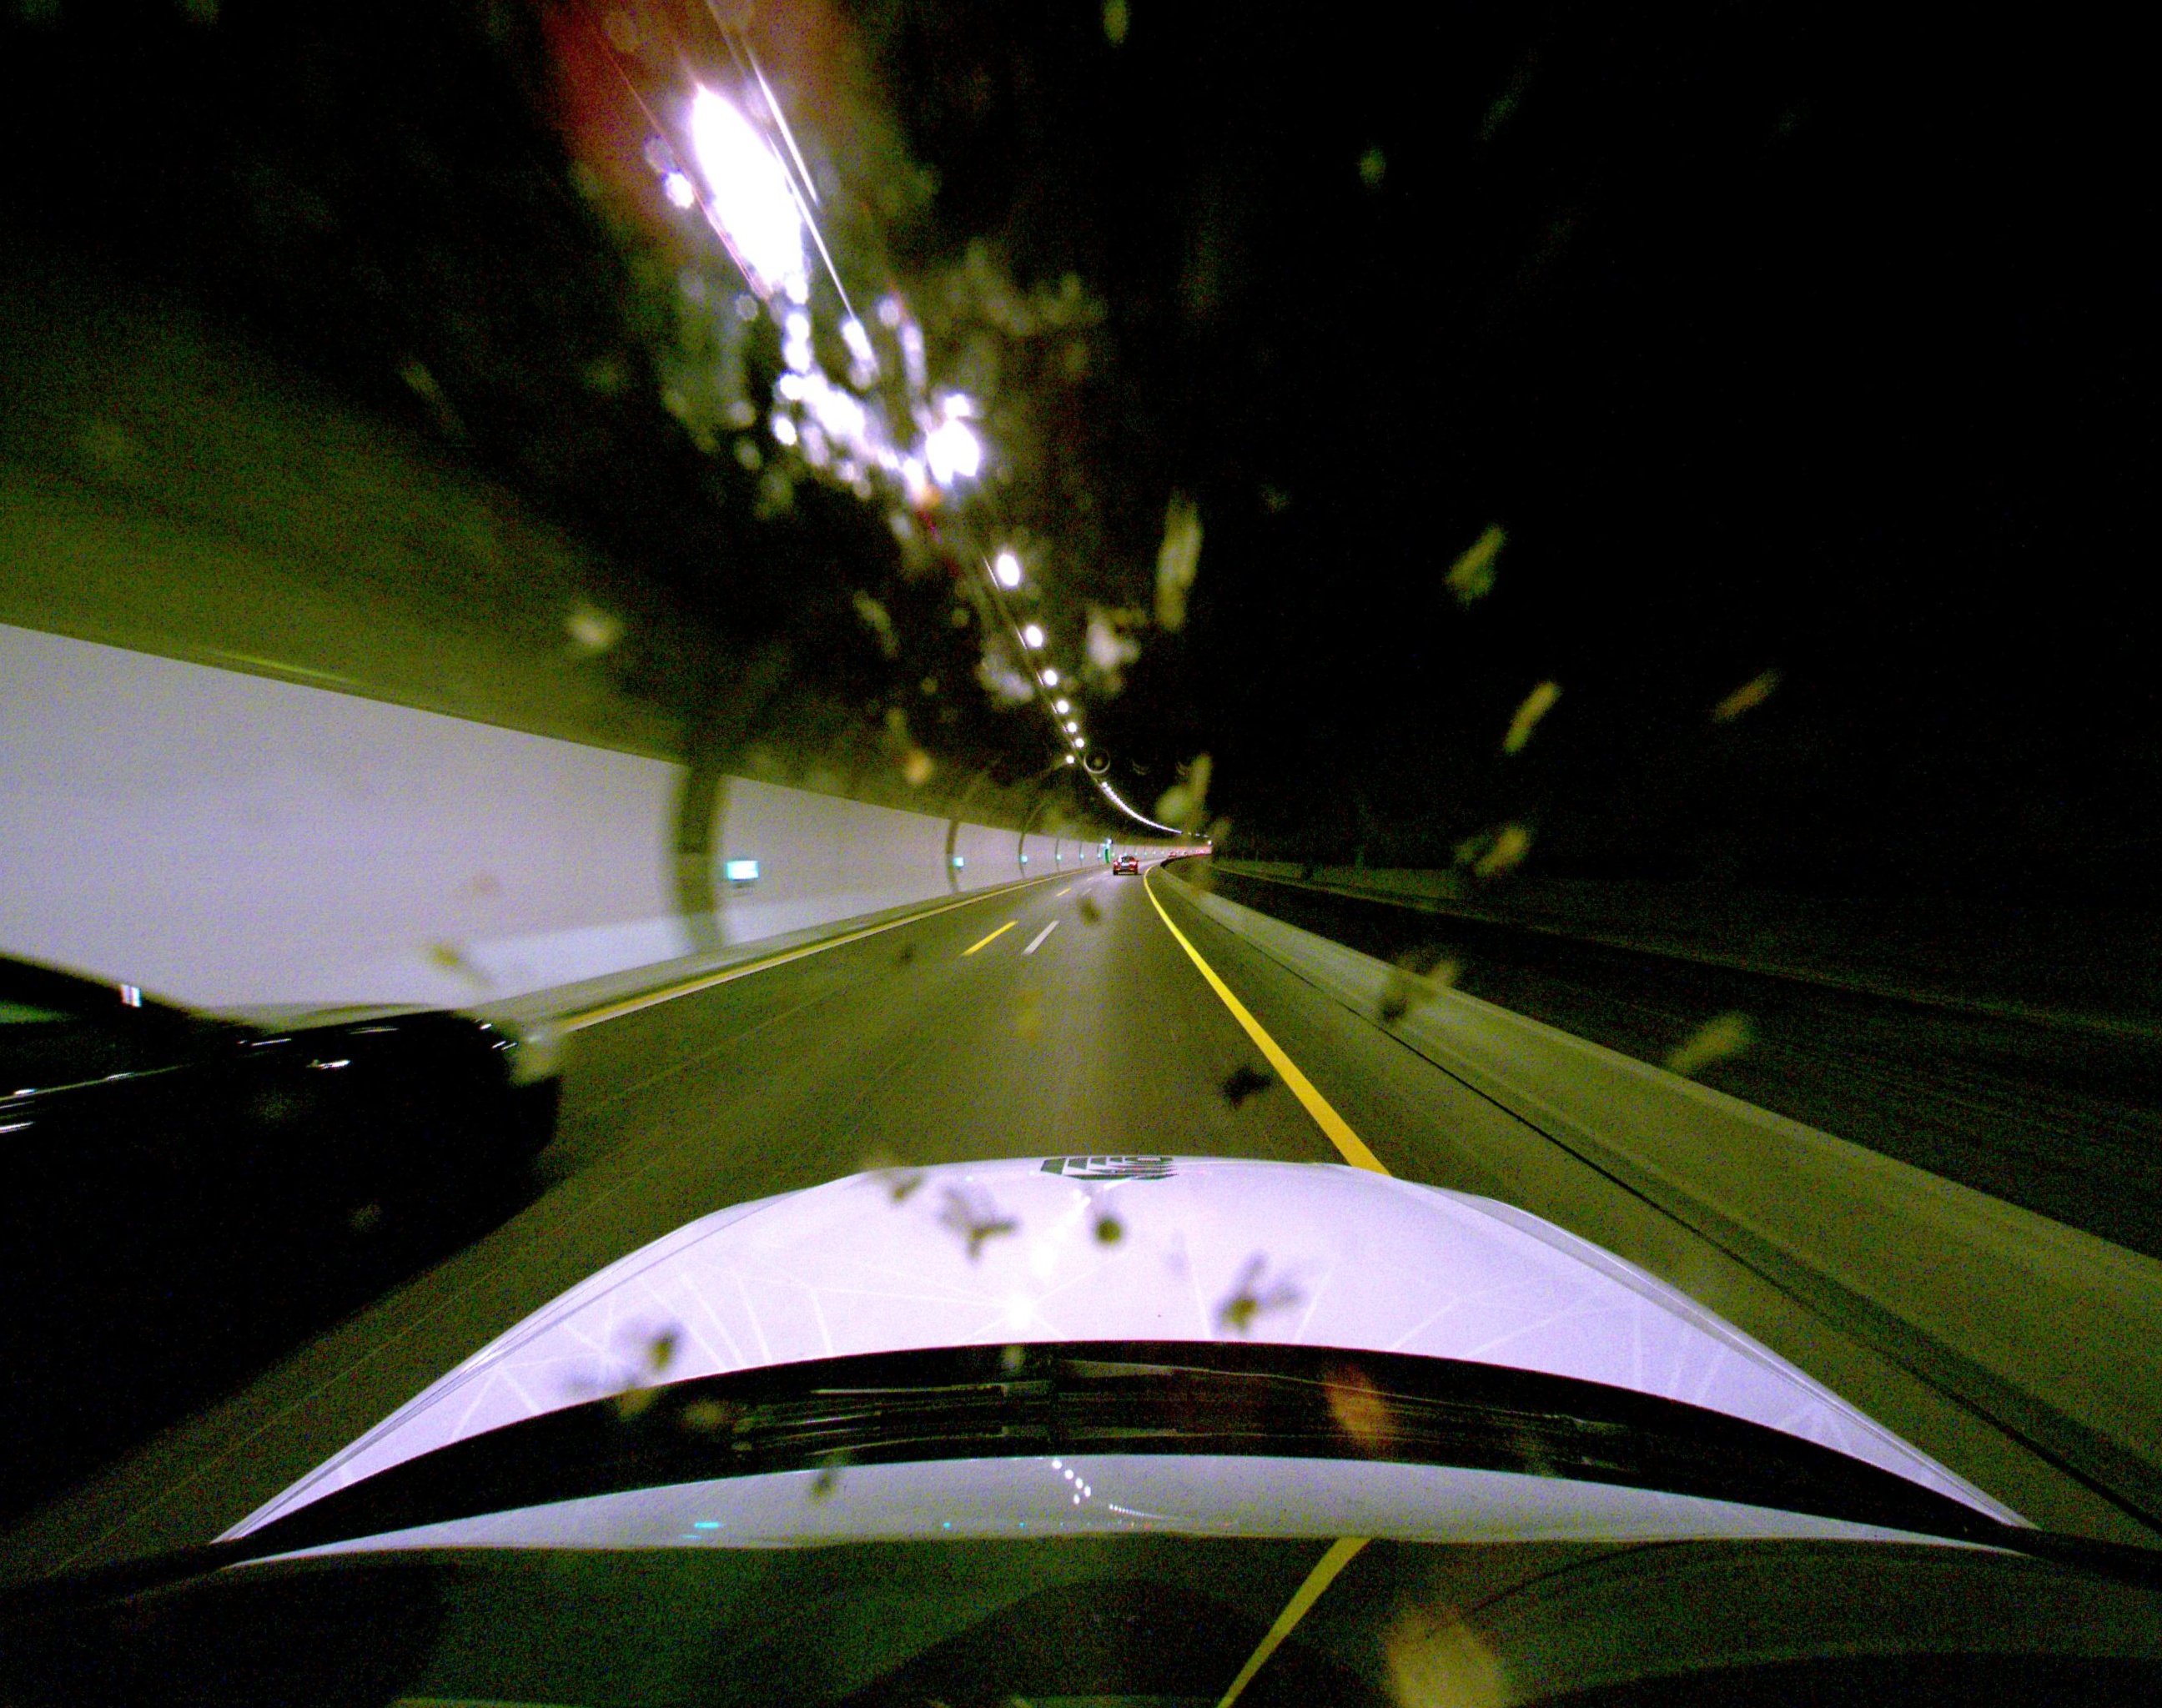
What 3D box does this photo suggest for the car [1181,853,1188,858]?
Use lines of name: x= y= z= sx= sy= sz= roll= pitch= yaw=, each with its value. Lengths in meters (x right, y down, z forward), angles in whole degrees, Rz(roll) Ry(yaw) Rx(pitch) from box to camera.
car: x=28.984 y=0.447 z=228.659 sx=1.584 sy=1.333 sz=3.764 roll=-1 pitch=0 yaw=13

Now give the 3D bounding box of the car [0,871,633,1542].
car: x=-3.304 y=0.822 z=1.879 sx=1.772 sy=1.438 sz=4.883 roll=0 pitch=0 yaw=1

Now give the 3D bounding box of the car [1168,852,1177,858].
car: x=26.008 y=0.265 z=231.732 sx=2.150 sy=1.486 sz=4.014 roll=-1 pitch=0 yaw=12

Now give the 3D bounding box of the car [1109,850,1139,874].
car: x=3.291 y=0.567 z=62.076 sx=2.131 sy=1.706 sz=4.006 roll=-1 pitch=0 yaw=5
